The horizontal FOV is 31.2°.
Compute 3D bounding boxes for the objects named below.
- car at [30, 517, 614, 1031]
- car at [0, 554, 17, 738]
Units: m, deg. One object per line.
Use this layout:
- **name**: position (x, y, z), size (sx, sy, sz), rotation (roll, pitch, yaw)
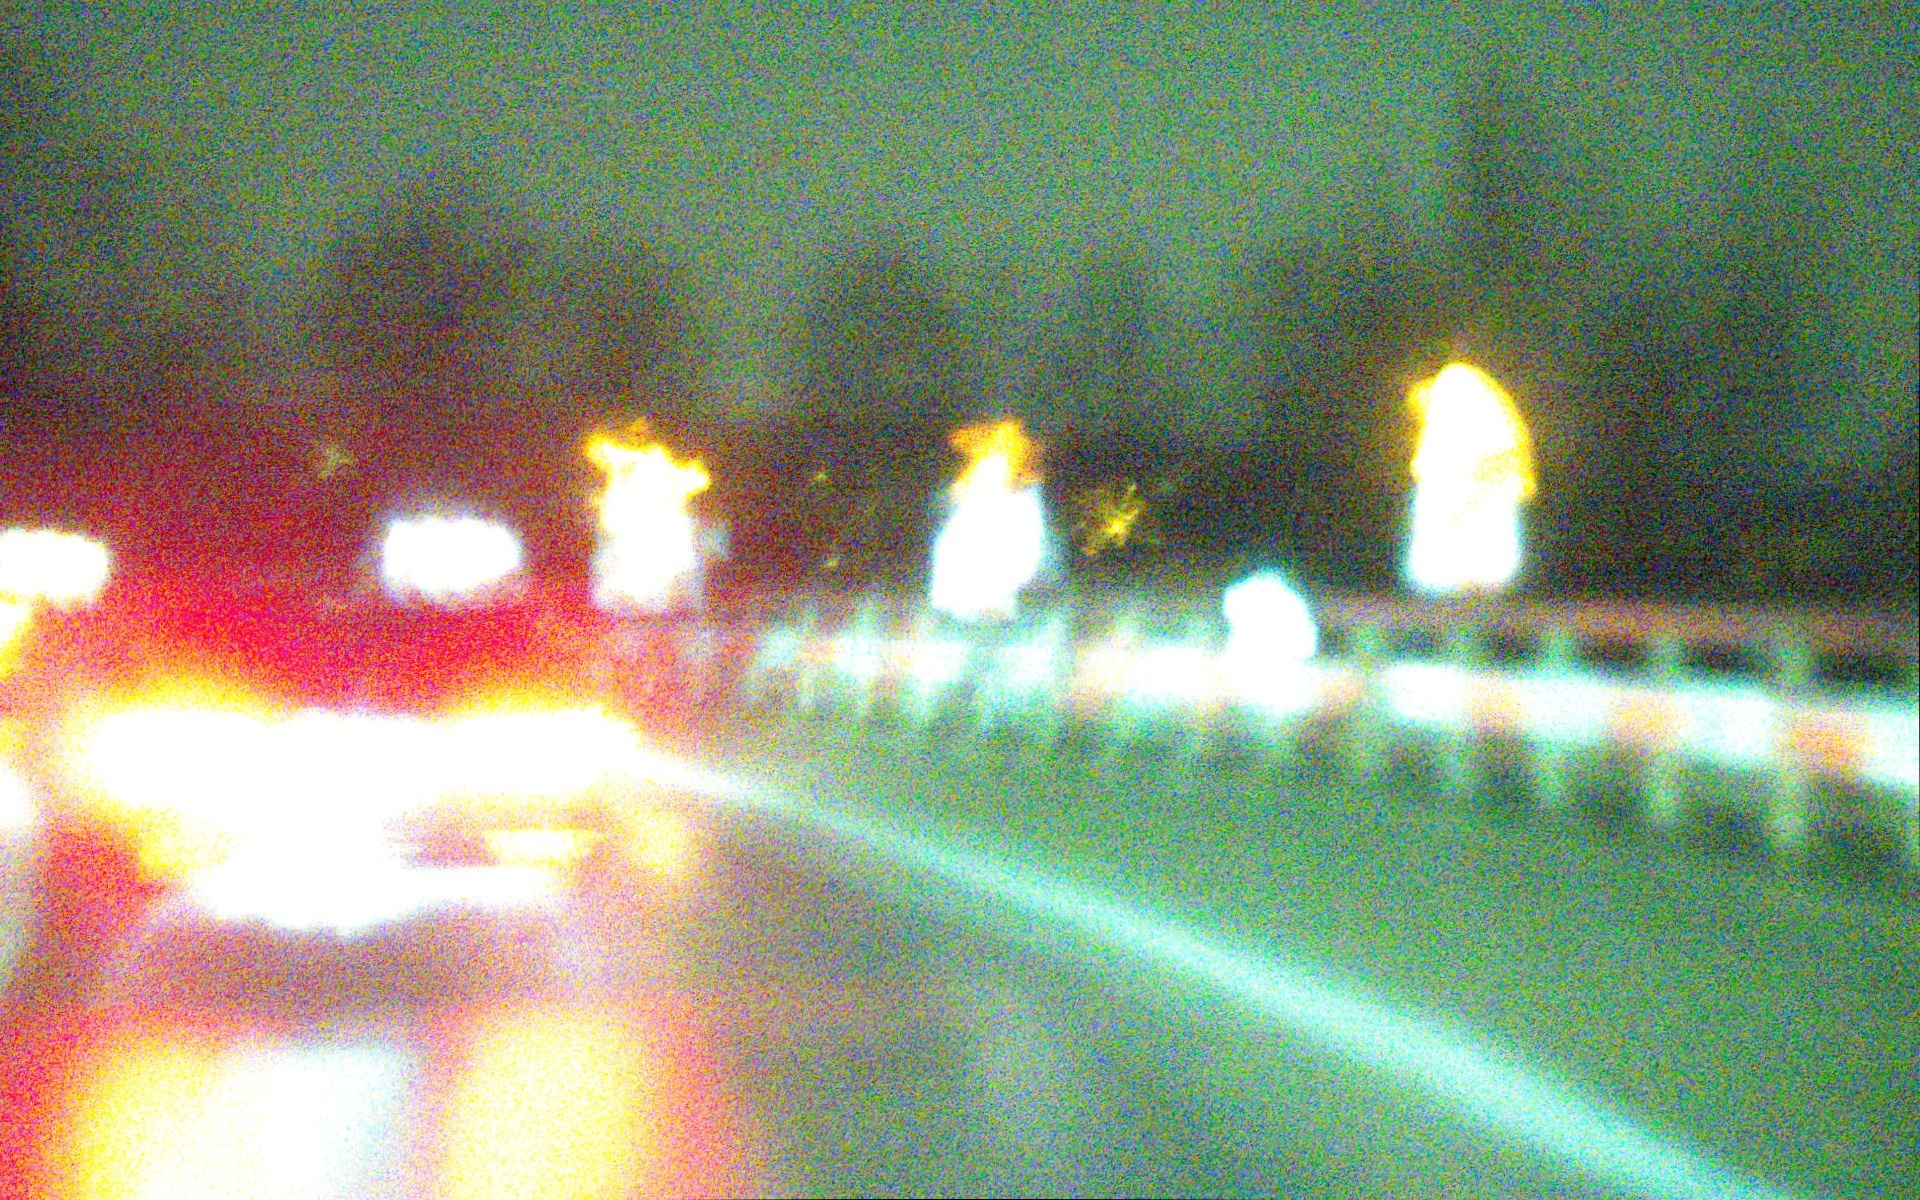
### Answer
- **car**: position (-2.466, 0.524, 13.203), size (1.860, 1.641, 4.070), rotation (-1, 1, -11)
- **car**: position (-10.622, 0.377, 33.622), size (1.895, 1.714, 4.046), rotation (1, 1, -27)
